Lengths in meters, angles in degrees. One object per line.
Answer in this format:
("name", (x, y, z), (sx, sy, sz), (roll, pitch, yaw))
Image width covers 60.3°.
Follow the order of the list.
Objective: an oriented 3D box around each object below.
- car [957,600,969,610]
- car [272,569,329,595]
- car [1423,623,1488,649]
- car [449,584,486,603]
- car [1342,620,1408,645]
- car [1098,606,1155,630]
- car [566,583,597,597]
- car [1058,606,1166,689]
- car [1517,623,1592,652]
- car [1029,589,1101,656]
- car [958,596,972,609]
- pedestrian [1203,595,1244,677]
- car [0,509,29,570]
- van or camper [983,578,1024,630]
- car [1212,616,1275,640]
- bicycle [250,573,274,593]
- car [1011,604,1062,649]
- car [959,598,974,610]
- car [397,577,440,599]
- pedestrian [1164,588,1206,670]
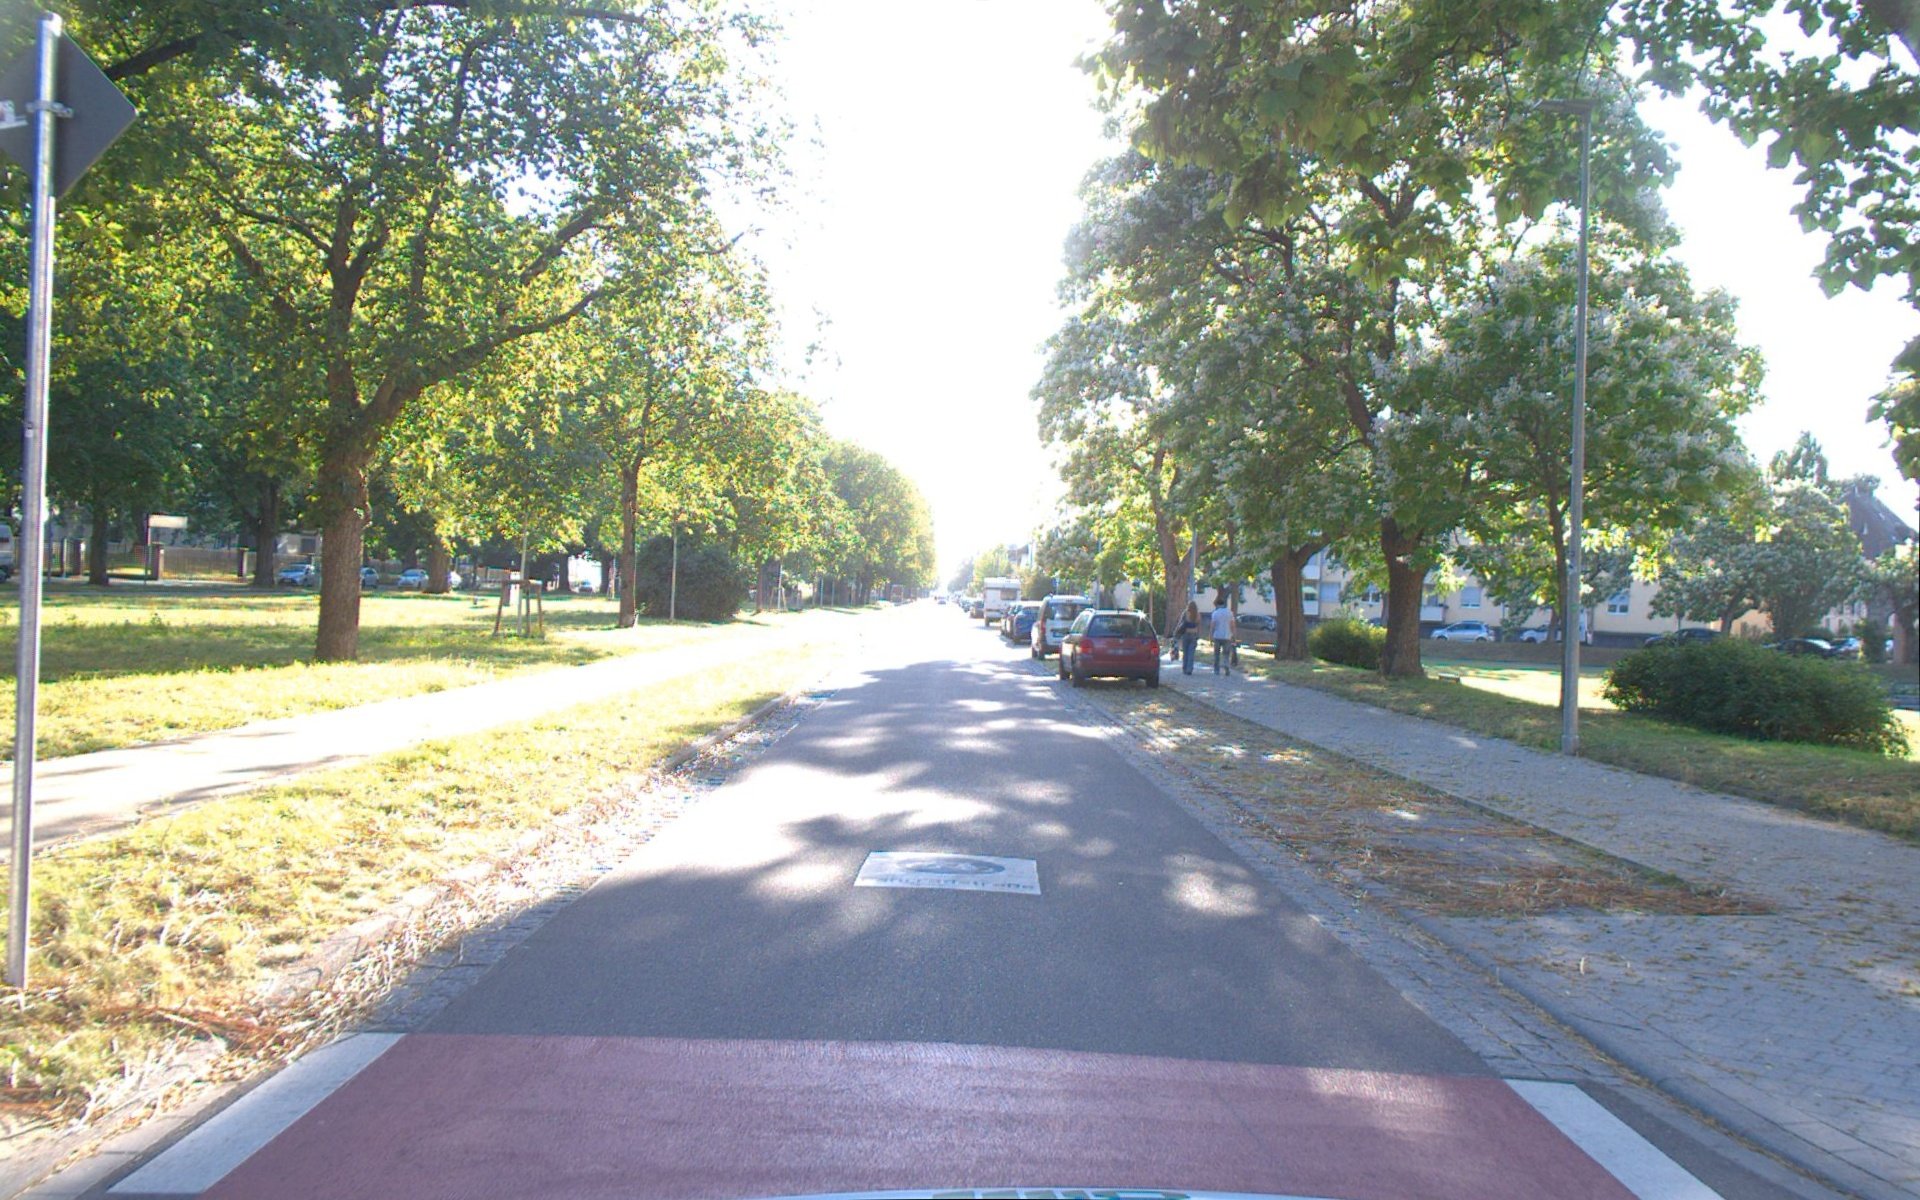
("car", (0.401, 0.746, 242.680), (1.593, 1.434, 4.248), (2, -1, -1))
("car", (-41.963, -1.125, 105.342), (1.953, 1.534, 4.000), (2, -1, 0))
("car", (33.003, 2.393, 110.127), (3.910, 1.579, 1.608), (2, -1, 27))
("car", (-42.488, -0.534, 142.763), (1.953, 1.534, 4.115), (2, -1, 0))
("car", (29.758, 2.315, 118.580), (4.417, 1.597, 1.881), (2, -1, 18))
("car", (12.332, 1.330, 122.486), (4.107, 1.557, 2.001), (2, -1, 3))
("car", (-43.891, -1.161, 191.954), (2.456, 1.534, 4.912), (2, -1, 0))
("car", (3.013, 0.910, 33.704), (1.644, 1.512, 4.808), (2, -1, -1))
("car", (40.387, 2.566, 112.444), (4.434, 1.776, 1.874), (2, -1, 35))
("car", (2.968, 0.643, 47.538), (1.644, 1.770, 4.513), (2, -1, -1))
("car", (0.646, 0.312, 206.694), (1.593, 1.434, 4.248), (2, -1, -1))
("pedestrian", (5.882, 0.794, 36.952), (0.710, 1.766, 0.731), (3, 0, 0))
("car", (-41.818, -2.624, 68.824), (2.666, 2.506, 6.316), (2, -1, -2))
("van or camper", (2.612, 0.264, 100.479), (2.189, 2.955, 5.671), (2, -1, -1))
("car", (19.738, 1.926, 115.114), (4.106, 1.488, 1.694), (2, -1, 15))
("bicycle", (-43.837, -1.044, 103.888), (0.644, 1.196, 2.332), (2, -1, -3))
("car", (2.879, 0.989, 62.953), (1.696, 1.578, 4.275), (2, -1, 0))
("car", (0.762, 0.475, 195.684), (1.593, 1.434, 4.248), (2, -1, -1))
("car", (-41.852, -0.932, 127.899), (1.953, 1.534, 4.115), (2, -1, 0))
("pedestrian", (5.022, 0.637, 36.918), (0.738, 1.766, 0.731), (3, 0, 0))
